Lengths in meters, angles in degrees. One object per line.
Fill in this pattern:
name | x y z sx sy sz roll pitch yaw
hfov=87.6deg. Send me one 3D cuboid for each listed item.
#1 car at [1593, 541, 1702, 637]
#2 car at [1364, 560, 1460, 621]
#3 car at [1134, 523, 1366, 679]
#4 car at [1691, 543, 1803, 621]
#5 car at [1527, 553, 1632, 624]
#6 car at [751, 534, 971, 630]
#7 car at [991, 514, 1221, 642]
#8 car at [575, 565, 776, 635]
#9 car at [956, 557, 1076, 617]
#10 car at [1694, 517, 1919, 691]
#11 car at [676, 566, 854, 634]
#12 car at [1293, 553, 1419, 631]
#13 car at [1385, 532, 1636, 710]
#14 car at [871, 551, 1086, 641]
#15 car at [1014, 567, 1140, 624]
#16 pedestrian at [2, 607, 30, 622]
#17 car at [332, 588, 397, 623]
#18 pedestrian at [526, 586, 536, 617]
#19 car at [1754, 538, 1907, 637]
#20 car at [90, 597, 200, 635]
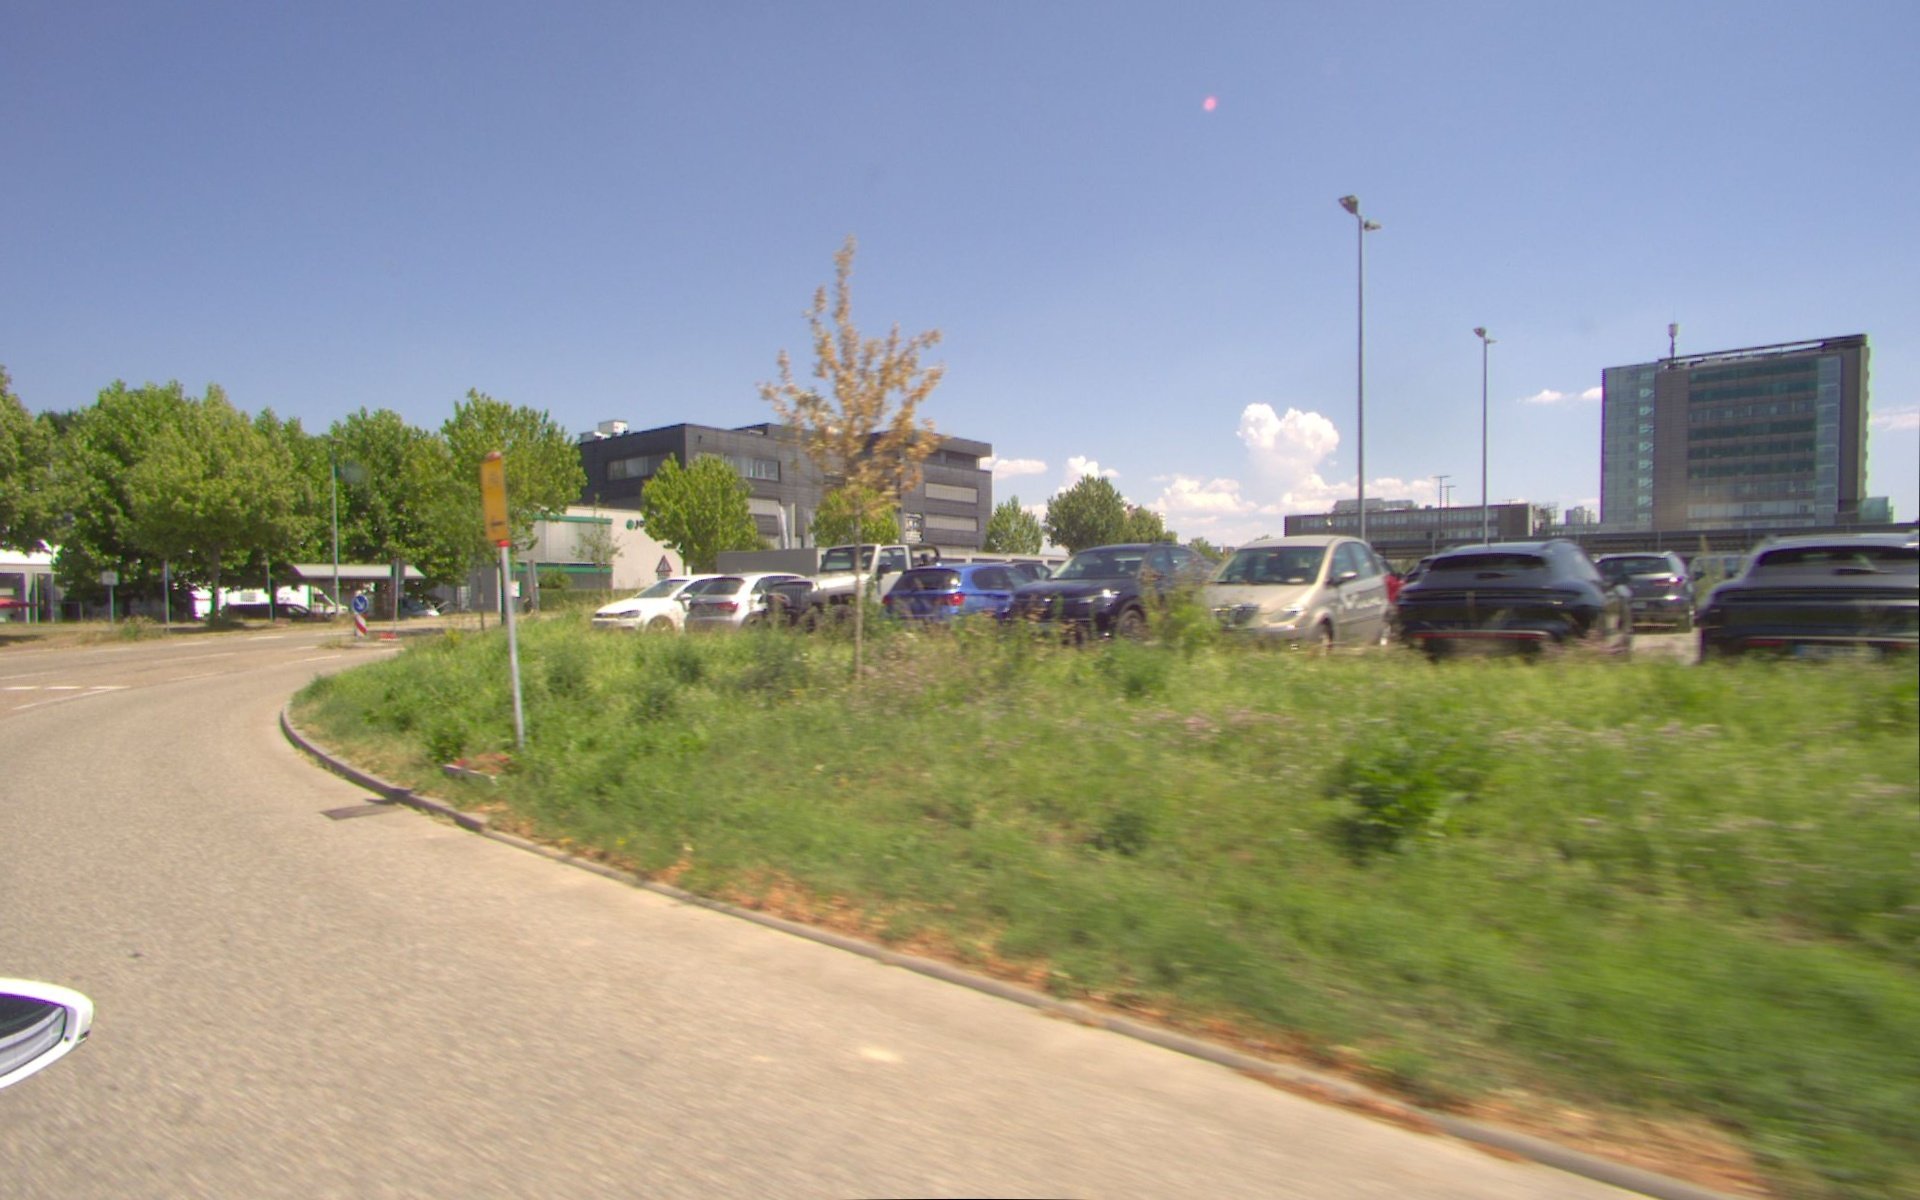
car | 12.642 -0.200 18.419 1.502 1.595 3.398 -1 0 35
car | 12.167 -0.279 26.837 1.578 1.519 3.613 -1 1 37
car | 3.766 -0.029 12.564 1.596 1.646 3.823 0 1 36
car | 16.765 -0.386 21.438 1.747 1.519 3.613 -1 1 37
car | 14.441 -0.287 23.258 1.747 1.519 3.613 -1 1 37
car | -1.750 -0.299 18.504 1.857 1.547 3.714 -3 -1 43
car | 2.288 -0.194 14.745 1.665 1.447 4.018 -1 -5 36
car | -5.884 0.010 21.056 1.556 1.314 3.848 -3 -1 39
car | 1.680 -0.390 29.079 1.747 1.619 3.613 -1 1 37
car | 8.150 0.091 9.326 1.886 1.308 3.970 -2 -2 40
car | -3.774 0.004 19.732 1.483 1.197 3.246 -3 -1 38
car | 9.003 -0.204 22.643 1.747 1.619 3.613 -1 1 37
car | 6.242 0.144 11.077 1.792 1.566 4.370 0 1 38
car | 0.421 -0.044 16.469 1.565 1.273 3.921 -2 -1 36
car | 3.209 -0.145 26.805 1.632 1.381 3.821 -1 1 37
pedestrian | -44.714 0.683 47.458 0.853 0.704 0.406 -2 2 -28
car | -36.968 0.363 62.147 4.200 2.039 1.543 -1 -2 29
pedestrian | -24.091 0.076 56.256 0.522 1.691 0.578 0 -1 -23
car | 14.951 -0.236 17.377 1.747 1.519 3.613 -1 1 37
car | -40.581 0.765 49.939 1.819 1.751 3.966 0 2 41
